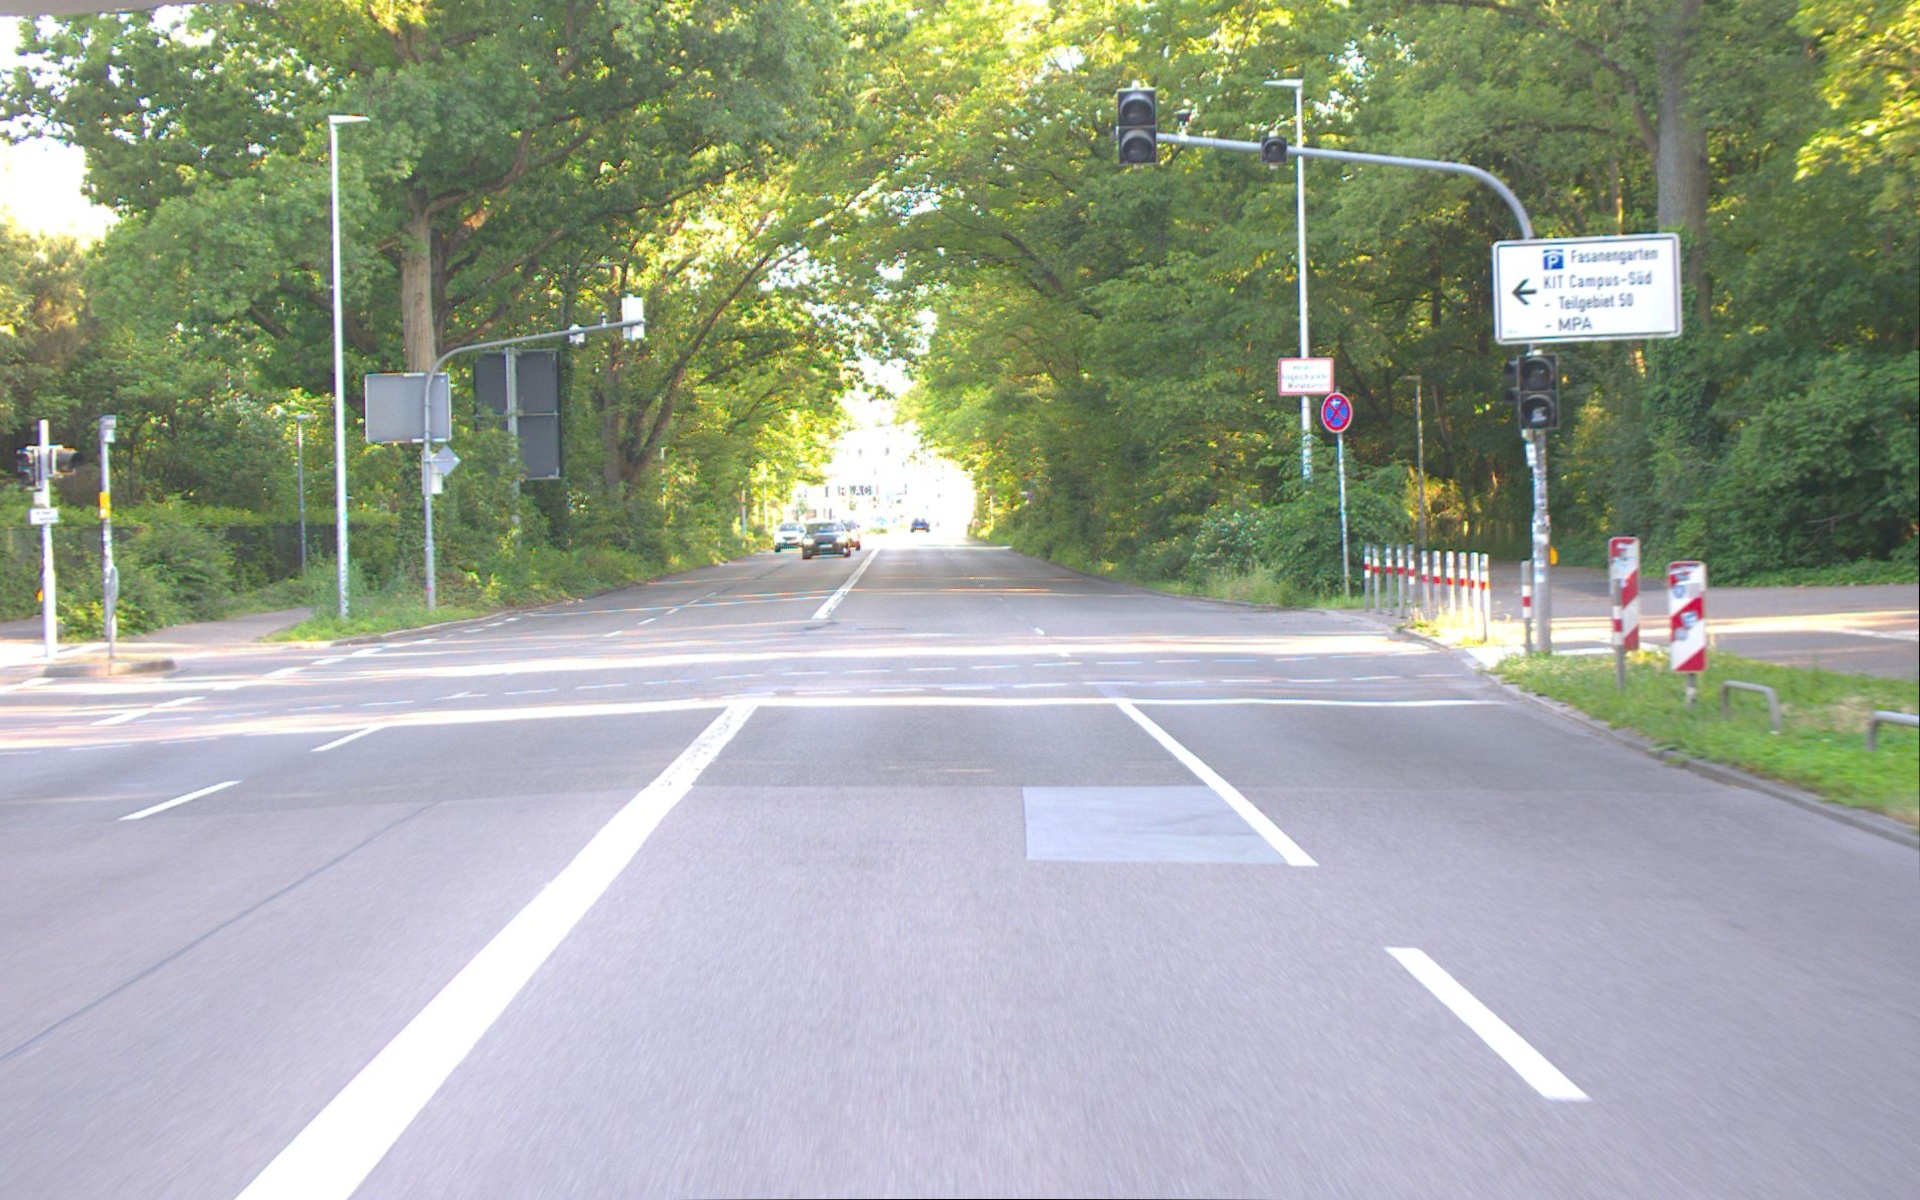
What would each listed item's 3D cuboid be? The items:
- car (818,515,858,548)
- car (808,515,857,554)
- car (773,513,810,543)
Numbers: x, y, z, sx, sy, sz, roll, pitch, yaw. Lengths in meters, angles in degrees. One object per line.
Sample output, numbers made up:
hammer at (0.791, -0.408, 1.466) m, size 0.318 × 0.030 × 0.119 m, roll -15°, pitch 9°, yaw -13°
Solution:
car at (-5.789, -3.254, 163.169) m, size 1.797 × 1.501 × 4.365 m, roll -2°, pitch 1°, yaw -2°
car at (-5.146, -2.650, 138.903) m, size 1.887 × 1.501 × 4.365 m, roll -2°, pitch 1°, yaw -2°
car at (-8.738, -3.742, 178.430) m, size 1.797 × 1.501 × 4.365 m, roll -2°, pitch 1°, yaw -2°
